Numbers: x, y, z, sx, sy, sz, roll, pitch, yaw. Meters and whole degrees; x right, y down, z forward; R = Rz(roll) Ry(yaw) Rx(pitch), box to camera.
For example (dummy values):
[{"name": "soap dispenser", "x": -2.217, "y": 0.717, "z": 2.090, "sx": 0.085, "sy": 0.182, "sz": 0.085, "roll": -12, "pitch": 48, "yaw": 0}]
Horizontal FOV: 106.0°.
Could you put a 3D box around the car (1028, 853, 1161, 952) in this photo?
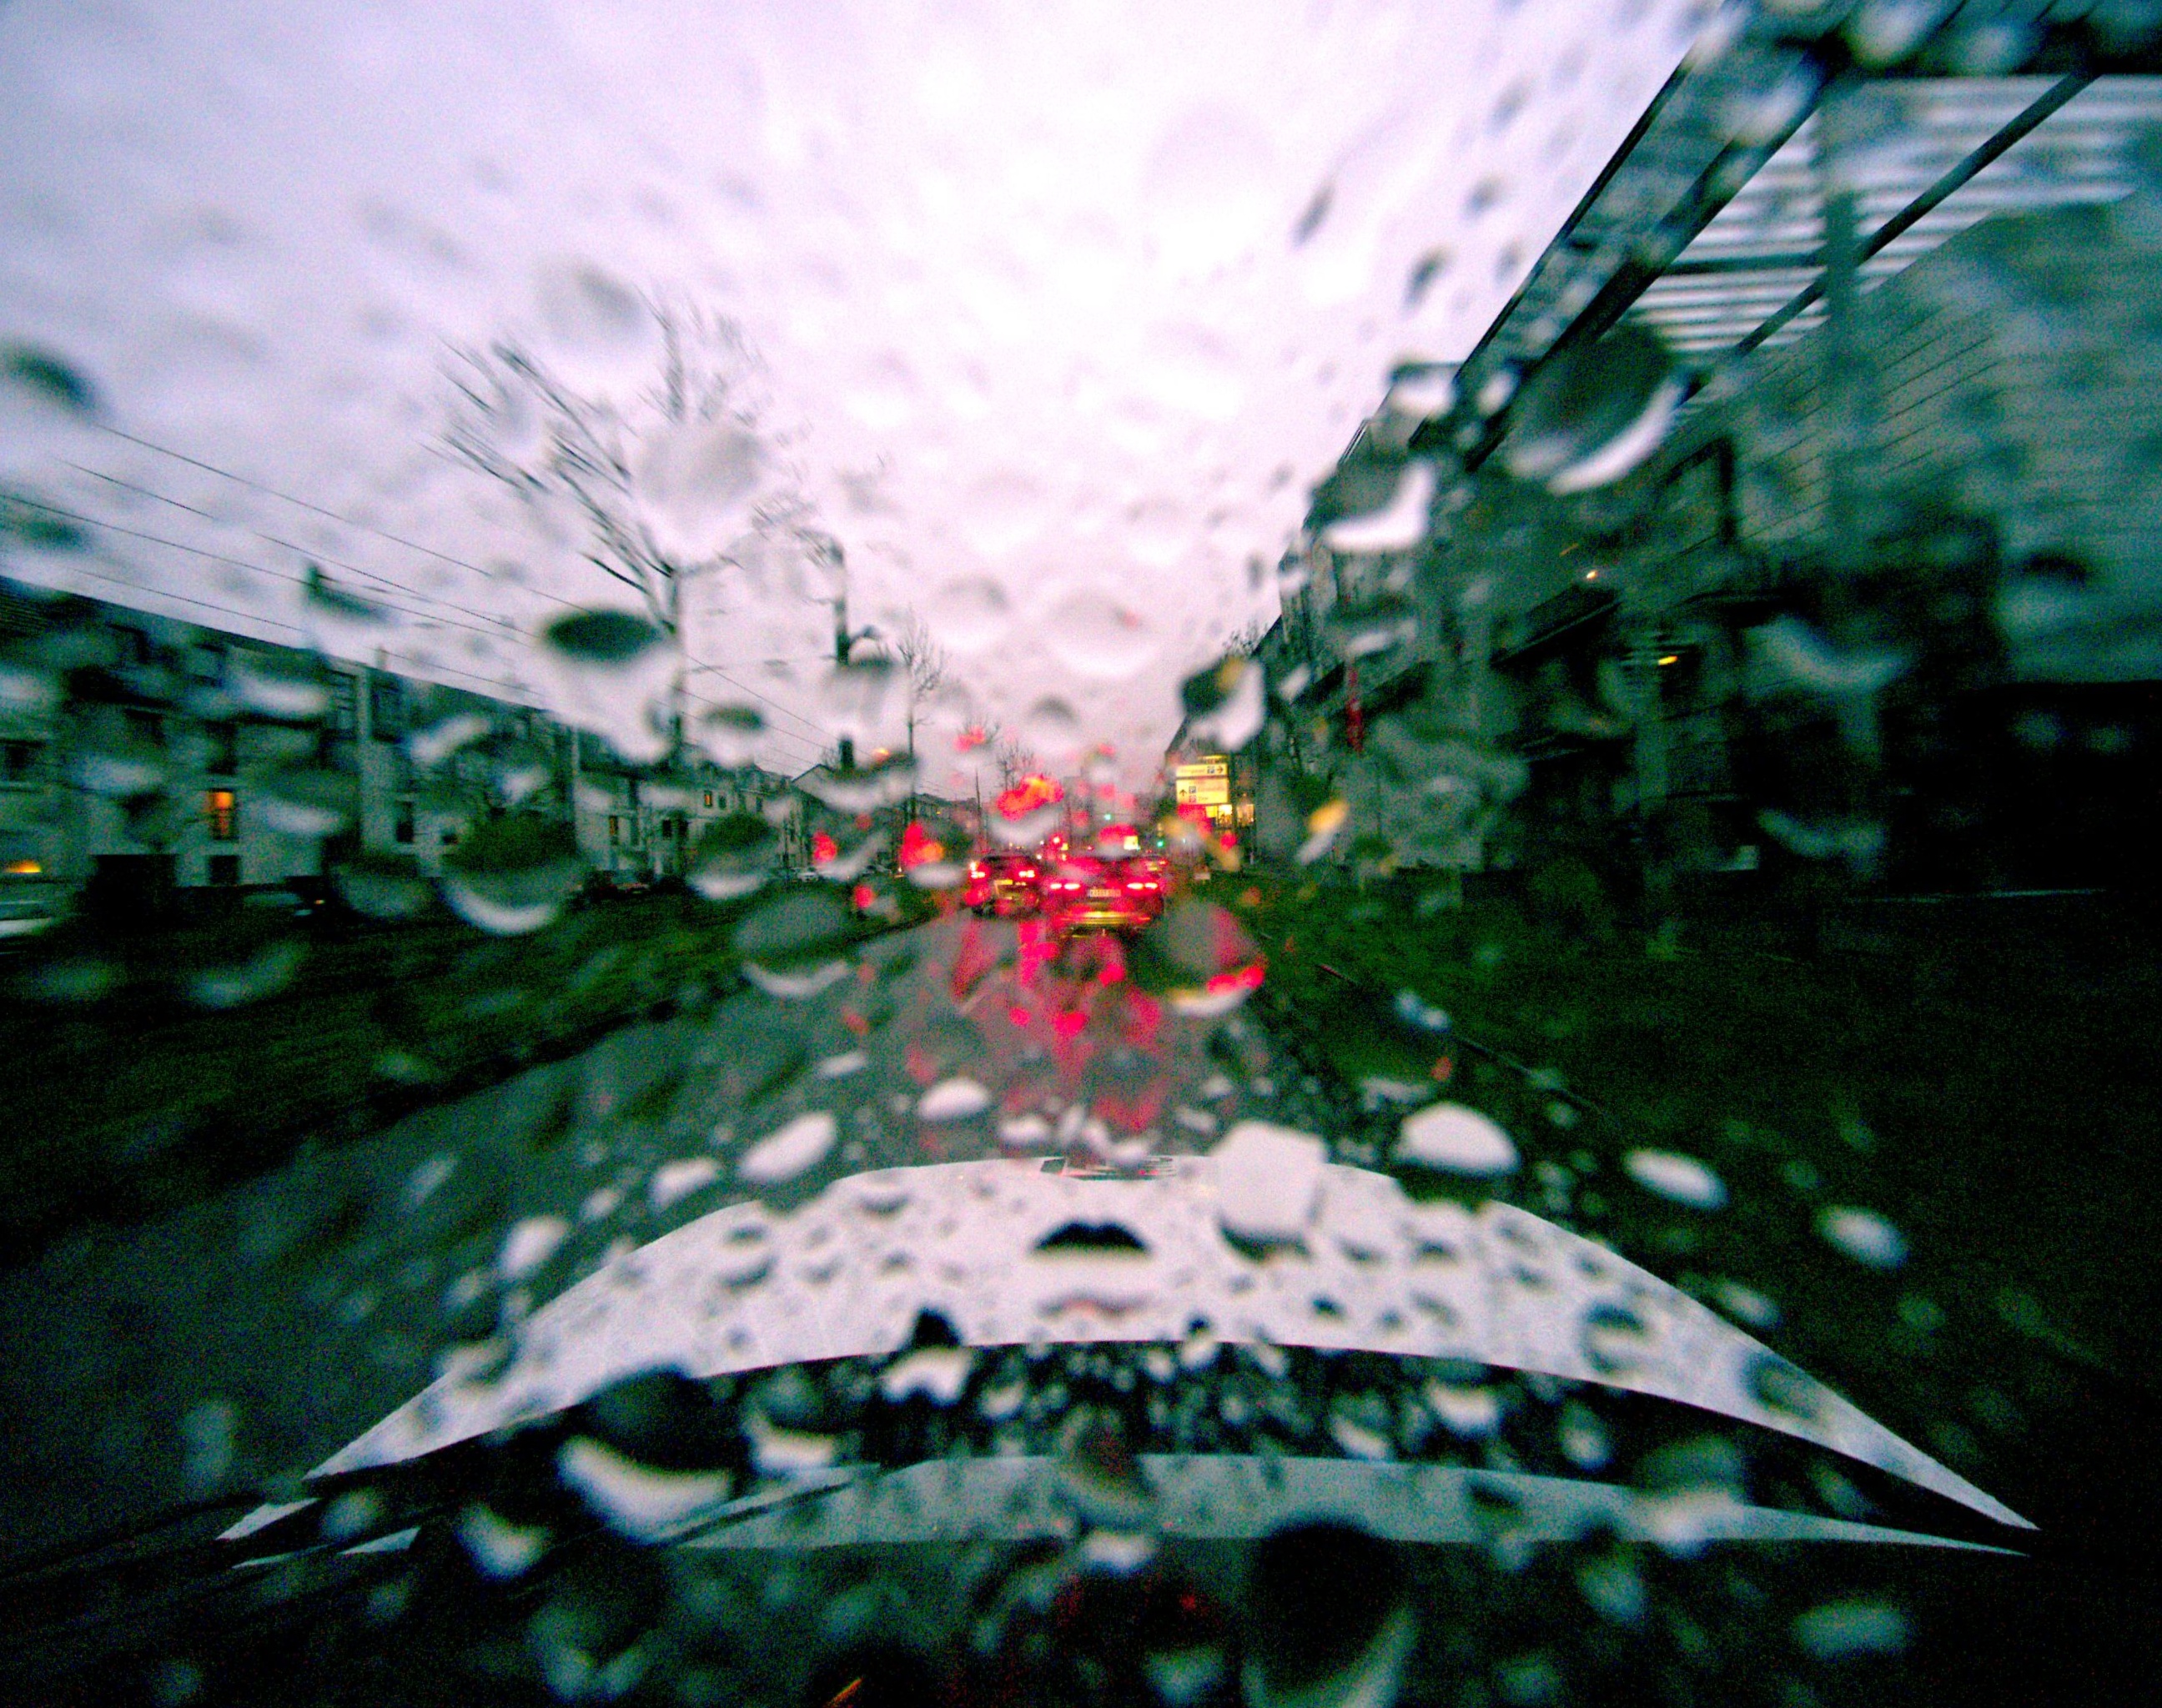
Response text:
[{"name": "car", "x": 0.260, "y": 0.740, "z": 14.146, "sx": 1.986, "sy": 1.483, "sz": 3.701, "roll": 0, "pitch": 0, "yaw": 2}]

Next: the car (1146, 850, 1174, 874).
[{"name": "car", "x": 5.437, "y": 0.522, "z": 56.033, "sx": 1.858, "sy": 1.543, "sz": 3.615, "roll": 0, "pitch": 0, "yaw": 5}]

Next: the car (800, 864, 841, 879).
[{"name": "car", "x": -25.287, "y": 1.671, "z": 78.940, "sx": 4.071, "sy": 1.378, "sz": 1.784, "roll": 0, "pitch": 0, "yaw": 38}]

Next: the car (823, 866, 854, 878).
[{"name": "car", "x": -24.651, "y": 1.802, "z": 82.740, "sx": 3.005, "sy": 1.147, "sz": 1.406, "roll": 0, "pitch": 0, "yaw": 32}]

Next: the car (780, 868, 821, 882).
[{"name": "car", "x": -24.992, "y": 1.882, "z": 72.470, "sx": 3.374, "sy": 1.147, "sz": 1.702, "roll": 0, "pitch": 0, "yaw": 33}]

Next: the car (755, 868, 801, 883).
[{"name": "car", "x": -25.483, "y": 1.789, "z": 68.557, "sx": 3.494, "sy": 1.200, "sz": 1.894, "roll": 0, "pitch": 0, "yaw": 33}]

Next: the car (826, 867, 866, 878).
[{"name": "car", "x": -24.705, "y": 1.897, "z": 85.638, "sx": 4.135, "sy": 1.116, "sz": 1.692, "roll": 0, "pitch": 0, "yaw": 32}]

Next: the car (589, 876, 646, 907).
[{"name": "car", "x": -26.355, "y": 2.117, "z": 46.276, "sx": 3.801, "sy": 1.588, "sz": 1.753, "roll": 0, "pitch": 0, "yaw": 43}]

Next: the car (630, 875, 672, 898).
[{"name": "car", "x": -26.796, "y": 2.012, "z": 50.709, "sx": 3.058, "sy": 1.302, "sz": 1.397, "roll": 0, "pitch": 0, "yaw": 43}]

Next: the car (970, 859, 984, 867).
[{"name": "car", "x": -19.922, "y": 1.713, "z": 155.789, "sx": 1.873, "sy": 1.502, "sz": 4.791, "roll": 0, "pitch": 0, "yaw": 1}]

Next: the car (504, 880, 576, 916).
[{"name": "car", "x": -26.537, "y": 2.121, "z": 39.919, "sx": 4.109, "sy": 1.541, "sz": 1.680, "roll": 0, "pitch": 0, "yaw": 38}]

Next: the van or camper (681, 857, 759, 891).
[{"name": "van or camper", "x": -26.588, "y": 1.419, "z": 59.895, "sx": 6.792, "sy": 2.360, "sz": 2.013, "roll": 0, "pitch": 0, "yaw": 35}]

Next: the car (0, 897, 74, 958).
[{"name": "car", "x": -26.524, "y": 1.804, "z": 20.261, "sx": 3.794, "sy": 1.245, "sz": 1.749, "roll": 0, "pitch": 0, "yaw": 37}]

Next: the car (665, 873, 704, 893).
[{"name": "car", "x": -25.988, "y": 1.866, "z": 53.356, "sx": 2.852, "sy": 1.204, "sz": 1.397, "roll": 0, "pitch": 0, "yaw": 43}]

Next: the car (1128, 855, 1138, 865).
[{"name": "car", "x": 8.769, "y": 0.983, "z": 138.404, "sx": 1.608, "sy": 1.571, "sz": 3.356, "roll": 0, "pitch": 0, "yaw": 5}]

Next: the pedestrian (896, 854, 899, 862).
[{"name": "pedestrian", "x": -25.682, "y": 0.577, "z": 114.042, "sx": 0.348, "sy": 1.184, "sz": 0.429, "roll": 0, "pitch": -1, "yaw": -39}]

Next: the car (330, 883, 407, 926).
[{"name": "car", "x": -26.660, "y": 1.842, "z": 30.437, "sx": 3.342, "sy": 1.422, "sz": 1.680, "roll": 0, "pitch": 0, "yaw": 40}]

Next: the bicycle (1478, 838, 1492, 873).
[{"name": "bicycle", "x": 15.190, "y": 0.036, "z": 30.609, "sx": 0.406, "sy": 1.284, "sz": 1.755, "roll": -1, "pitch": 0, "yaw": 29}]

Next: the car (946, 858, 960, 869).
[{"name": "car", "x": -20.684, "y": 1.515, "z": 131.561, "sx": 1.607, "sy": 1.623, "sz": 3.510, "roll": 0, "pitch": 0, "yaw": 2}]

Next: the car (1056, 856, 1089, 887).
[{"name": "car", "x": -0.417, "y": 0.949, "z": 45.083, "sx": 1.683, "sy": 1.635, "sz": 3.475, "roll": 0, "pitch": 0, "yaw": 2}]

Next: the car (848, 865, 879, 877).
[{"name": "car", "x": -24.793, "y": 1.930, "z": 92.733, "sx": 3.719, "sy": 1.337, "sz": 1.463, "roll": -2, "pitch": 0, "yaw": 37}]

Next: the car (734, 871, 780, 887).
[{"name": "car", "x": -26.181, "y": 2.002, "z": 65.786, "sx": 3.494, "sy": 1.212, "sz": 1.759, "roll": 0, "pitch": 0, "yaw": 33}]

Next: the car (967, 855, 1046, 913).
[{"name": "car", "x": -1.987, "y": 0.756, "z": 22.720, "sx": 1.812, "sy": 1.450, "sz": 3.999, "roll": 0, "pitch": 0, "yaw": 0}]

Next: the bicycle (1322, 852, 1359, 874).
[{"name": "bicycle", "x": 13.735, "y": 0.470, "z": 43.157, "sx": 1.803, "sy": 1.052, "sz": 0.397, "roll": -3, "pitch": 0, "yaw": -1}]

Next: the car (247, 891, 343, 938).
[{"name": "car", "x": -26.418, "y": 2.006, "z": 27.378, "sx": 2.899, "sy": 1.336, "sz": 1.749, "roll": 0, "pitch": 0, "yaw": 34}]
